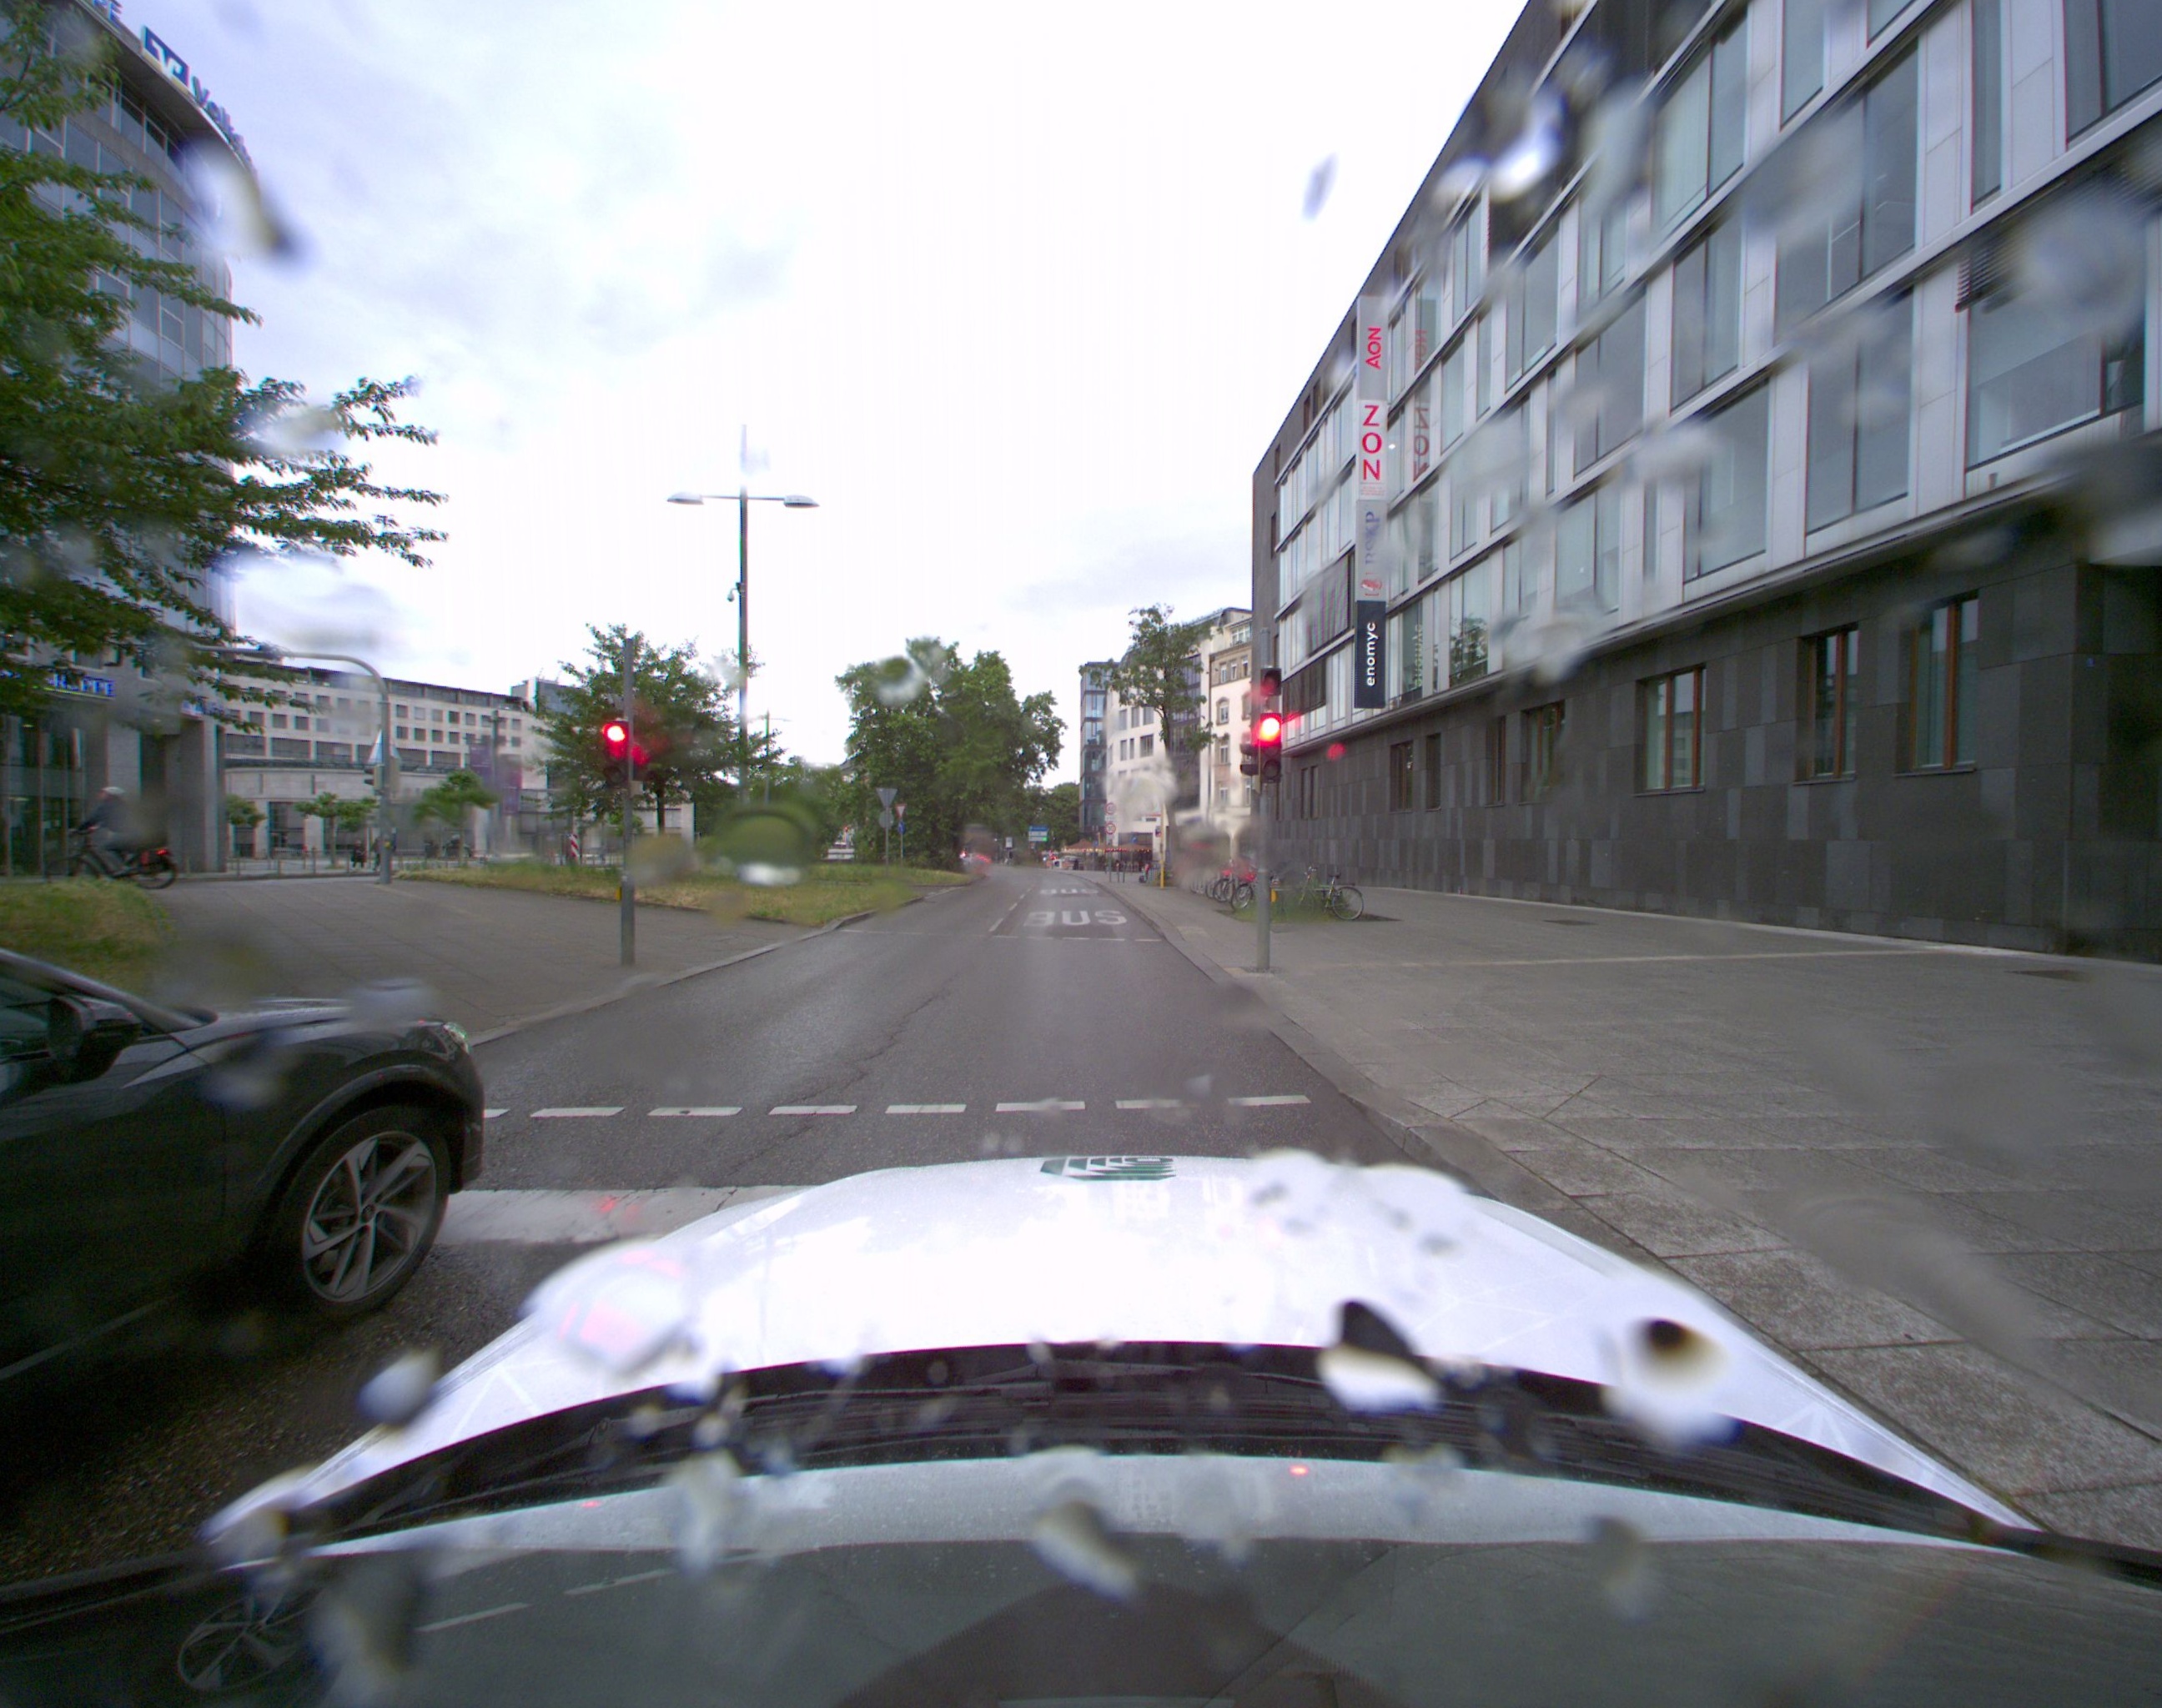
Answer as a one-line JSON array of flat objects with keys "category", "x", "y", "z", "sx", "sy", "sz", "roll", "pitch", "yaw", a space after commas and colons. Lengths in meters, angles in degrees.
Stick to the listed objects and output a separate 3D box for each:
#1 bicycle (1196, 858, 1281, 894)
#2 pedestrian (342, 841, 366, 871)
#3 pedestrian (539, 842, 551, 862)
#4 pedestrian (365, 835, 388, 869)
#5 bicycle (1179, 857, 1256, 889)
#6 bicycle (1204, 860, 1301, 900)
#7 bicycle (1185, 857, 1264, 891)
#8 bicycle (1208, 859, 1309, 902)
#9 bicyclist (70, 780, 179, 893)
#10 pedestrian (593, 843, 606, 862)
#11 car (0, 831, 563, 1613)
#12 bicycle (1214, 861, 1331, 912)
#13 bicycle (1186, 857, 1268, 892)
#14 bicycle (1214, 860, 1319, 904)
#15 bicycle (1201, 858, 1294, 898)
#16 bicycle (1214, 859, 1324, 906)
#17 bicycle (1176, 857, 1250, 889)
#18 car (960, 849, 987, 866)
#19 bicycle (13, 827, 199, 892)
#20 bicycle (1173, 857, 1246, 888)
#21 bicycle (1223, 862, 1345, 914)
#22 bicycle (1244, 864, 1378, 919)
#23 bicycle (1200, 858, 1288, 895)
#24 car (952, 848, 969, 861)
[{"category": "bicycle", "x": 4.933, "y": 0.669, "z": 25.596, "sx": 2.530, "sy": 1.087, "sz": 0.677, "roll": -1, "pitch": 0, "yaw": -3}, {"category": "pedestrian", "x": -38.206, "y": 0.107, "z": 42.796, "sx": 0.732, "sy": 1.516, "sz": 0.685, "roll": -2, "pitch": 0, "yaw": -26}, {"category": "pedestrian", "x": -54.793, "y": -0.240, "z": 83.244, "sx": 0.791, "sy": 2.014, "sz": 0.735, "roll": 2, "pitch": -1, "yaw": -20}, {"category": "pedestrian", "x": -37.281, "y": -0.088, "z": 43.113, "sx": 0.620, "sy": 1.763, "sz": 0.722, "roll": -2, "pitch": 0, "yaw": -14}, {"category": "bicycle", "x": 4.684, "y": 0.643, "z": 28.084, "sx": 2.530, "sy": 1.087, "sz": 0.677, "roll": -1, "pitch": 0, "yaw": -3}, {"category": "bicycle", "x": 4.725, "y": 0.700, "z": 22.514, "sx": 2.530, "sy": 1.060, "sz": 0.677, "roll": -1, "pitch": 0, "yaw": -3}, {"category": "bicycle", "x": 4.780, "y": 0.654, "z": 27.192, "sx": 2.530, "sy": 1.087, "sz": 0.677, "roll": -1, "pitch": 0, "yaw": -3}, {"category": "bicycle", "x": 4.692, "y": 0.698, "z": 21.648, "sx": 2.530, "sy": 1.087, "sz": 0.677, "roll": -1, "pitch": 0, "yaw": -3}, {"category": "bicyclist", "x": -18.392, "y": -0.324, "z": 15.695, "sx": 1.086, "sy": 2.082, "sz": 0.757, "roll": 2, "pitch": 1, "yaw": -23}, {"category": "pedestrian", "x": -50.940, "y": -0.160, "z": 86.194, "sx": 0.785, "sy": 2.014, "sz": 0.742, "roll": 2, "pitch": 0, "yaw": 7}, {"category": "car", "x": -3.148, "y": 0.757, "z": 1.377, "sx": 1.842, "sy": 1.616, "sz": 4.251, "roll": 1, "pitch": 1, "yaw": -1}, {"category": "bicycle", "x": 4.398, "y": 0.738, "z": 18.762, "sx": 2.530, "sy": 1.087, "sz": 0.677, "roll": 2, "pitch": 0, "yaw": -3}, {"category": "bicycle", "x": 4.721, "y": 0.669, "z": 26.441, "sx": 2.530, "sy": 1.087, "sz": 0.677, "roll": -1, "pitch": 0, "yaw": -3}, {"category": "bicycle", "x": 4.723, "y": 0.702, "z": 20.836, "sx": 2.530, "sy": 1.087, "sz": 0.677, "roll": -1, "pitch": 0, "yaw": -3}, {"category": "bicycle", "x": 4.783, "y": 0.685, "z": 23.423, "sx": 2.530, "sy": 1.087, "sz": 0.677, "roll": -1, "pitch": 0, "yaw": -3}, {"category": "bicycle", "x": 4.596, "y": 0.682, "z": 19.984, "sx": 2.530, "sy": 1.087, "sz": 0.677, "roll": -1, "pitch": 0, "yaw": -3}, {"category": "bicycle", "x": 4.661, "y": 0.656, "z": 28.832, "sx": 2.530, "sy": 1.087, "sz": 0.677, "roll": -1, "pitch": 0, "yaw": -3}, {"category": "car", "x": -11.954, "y": 0.391, "z": 90.433, "sx": 2.001, "sy": 1.647, "sz": 3.971, "roll": 4, "pitch": 0, "yaw": -22}, {"category": "bicycle", "x": -18.606, "y": 0.112, "z": 15.610, "sx": 2.135, "sy": 1.145, "sz": 0.757, "roll": 2, "pitch": 1, "yaw": -23}, {"category": "bicycle", "x": 4.649, "y": 0.666, "z": 29.555, "sx": 2.530, "sy": 1.087, "sz": 0.627, "roll": -1, "pitch": 0, "yaw": -3}, {"category": "bicycle", "x": 4.450, "y": 0.738, "z": 17.957, "sx": 2.530, "sy": 1.087, "sz": 0.677, "roll": 0, "pitch": 0, "yaw": -3}, {"category": "bicycle", "x": 4.630, "y": 0.746, "z": 16.474, "sx": 2.530, "sy": 1.057, "sz": 0.677, "roll": 0, "pitch": 0, "yaw": -3}, {"category": "bicycle", "x": 4.913, "y": 0.670, "z": 24.617, "sx": 2.530, "sy": 1.087, "sz": 0.677, "roll": -1, "pitch": 0, "yaw": -3}, {"category": "car", "x": -17.045, "y": 0.114, "z": 114.751, "sx": 2.180, "sy": 1.700, "sz": 3.985, "roll": 2, "pitch": 0, "yaw": -11}]
